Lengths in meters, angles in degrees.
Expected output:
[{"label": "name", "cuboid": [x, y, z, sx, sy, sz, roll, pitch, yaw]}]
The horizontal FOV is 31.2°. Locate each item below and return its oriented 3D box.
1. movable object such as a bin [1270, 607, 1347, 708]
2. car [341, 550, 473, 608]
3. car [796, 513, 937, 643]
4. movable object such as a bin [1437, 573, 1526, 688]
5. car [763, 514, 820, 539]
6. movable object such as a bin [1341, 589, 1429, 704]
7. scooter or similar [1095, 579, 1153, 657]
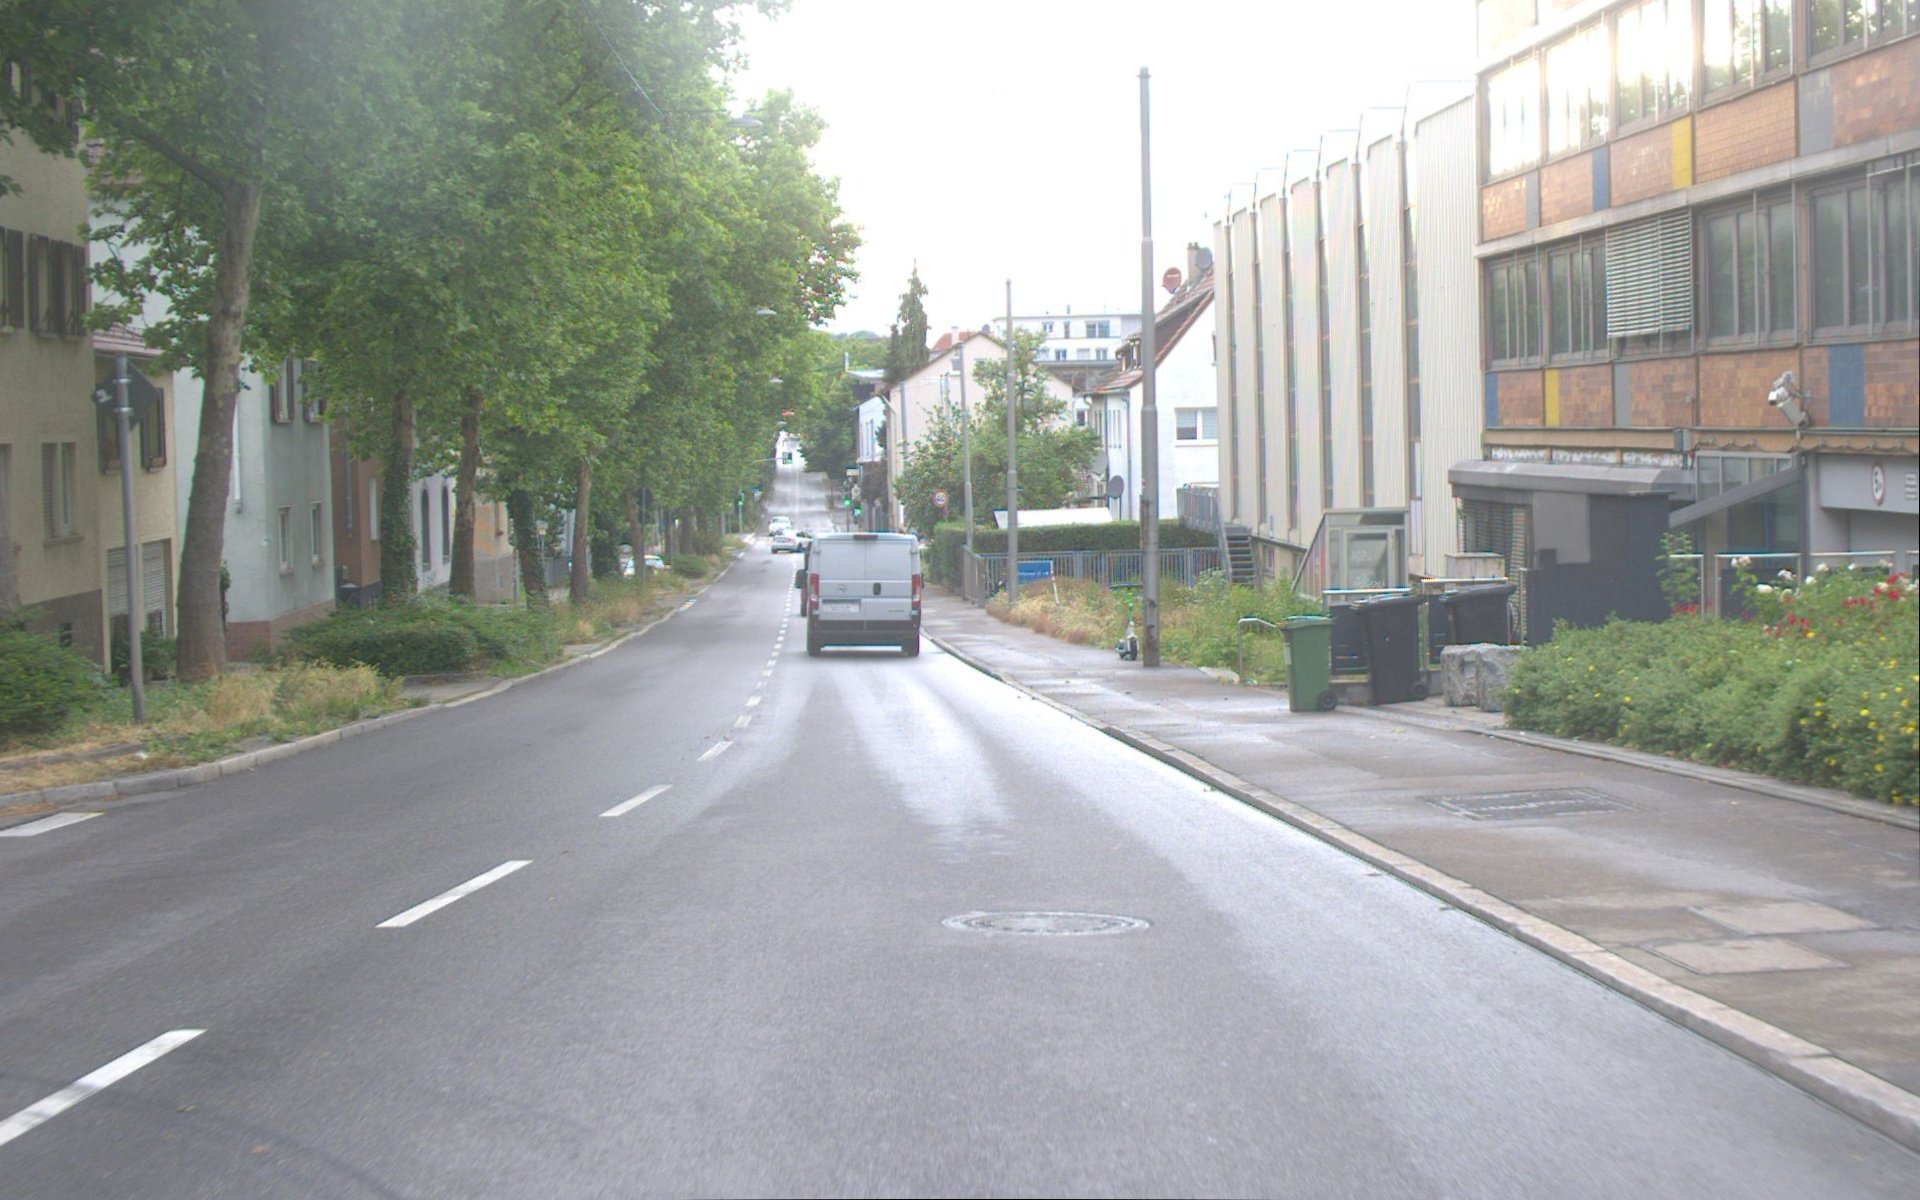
[{"label": "movable object such as a bin", "cuboid": [3.424, 0.562, 33.854, 0.619, 0.933, 0.686, -4, 1, -1]}, {"label": "car", "cuboid": [-18.661, -0.715, 116.132, 4.196, 1.885, 2.000, -1, 1, -3]}, {"label": "car", "cuboid": [-1.785, -0.451, 63.739, 2.346, 2.152, 4.779, -2, 3, -4]}, {"label": "movable object such as a bin", "cuboid": [5.169, 0.295, 34.109, 0.695, 1.078, 0.778, -4, 1, -1]}, {"label": "car", "cuboid": [-10.687, -4.699, 218.583, 1.996, 1.571, 3.995, 0, 2, 25]}, {"label": "movable object such as a bin", "cuboid": [4.201, 0.454, 34.032, 0.695, 1.078, 0.778, -4, 1, -1]}, {"label": "scooter or similar", "cuboid": [2.510, 0.263, 52.736, 0.605, 1.158, 1.700, -1, 1, -7]}]
